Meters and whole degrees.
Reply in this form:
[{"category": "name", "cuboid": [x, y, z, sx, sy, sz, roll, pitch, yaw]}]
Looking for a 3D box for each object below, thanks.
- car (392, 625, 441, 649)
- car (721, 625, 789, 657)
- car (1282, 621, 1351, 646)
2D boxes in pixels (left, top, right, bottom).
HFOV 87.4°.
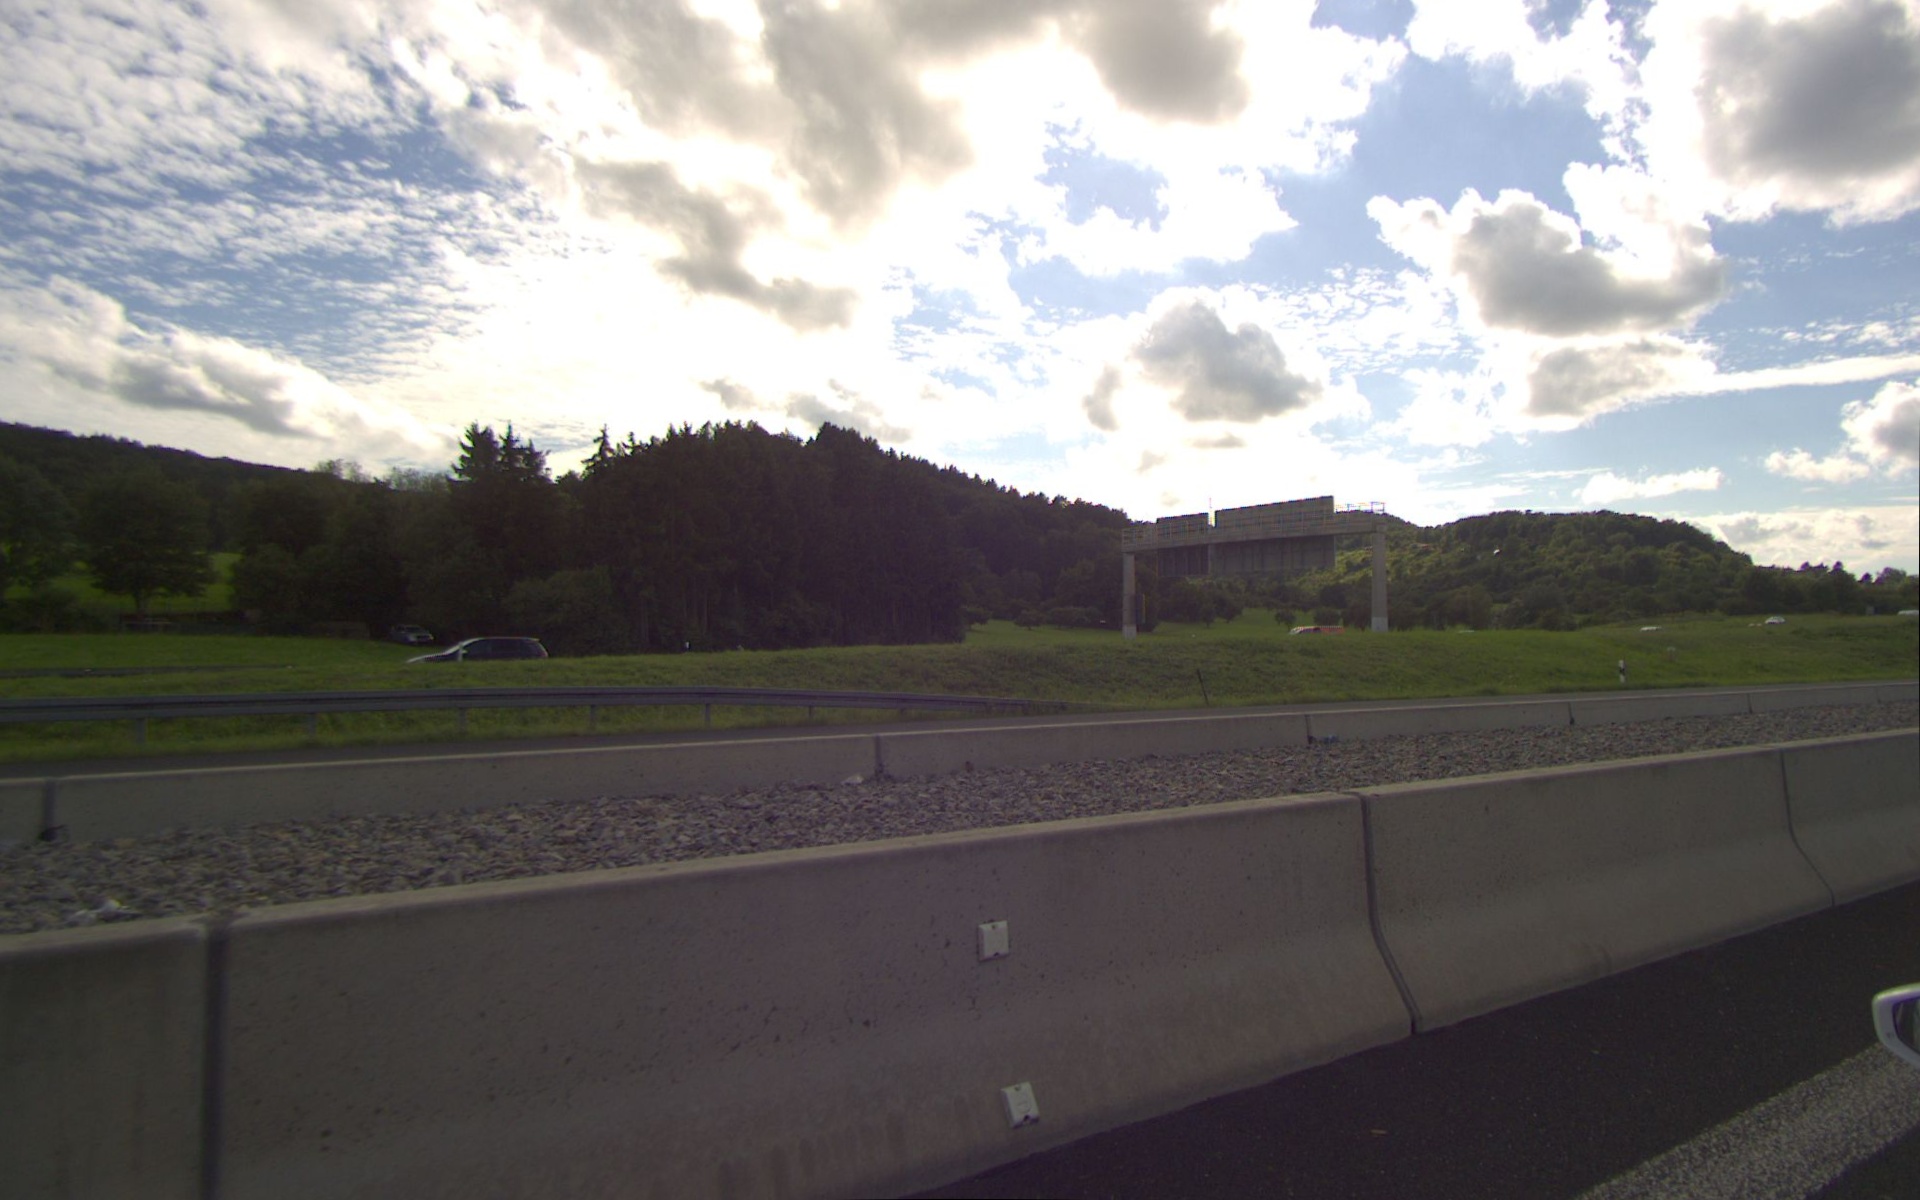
[{"category": "car", "cuboid": [-42.011, 2.844, 77.577, 3.939, 1.706, 1.991, 0, -1, 40]}, {"category": "car", "cuboid": [-13.509, 2.730, 66.261, 3.958, 2.040, 1.982, 2, -3, -34]}, {"category": "car", "cuboid": [22.950, 2.195, 64.603, 4.842, 1.568, 1.761, 2, -3, -36]}]
